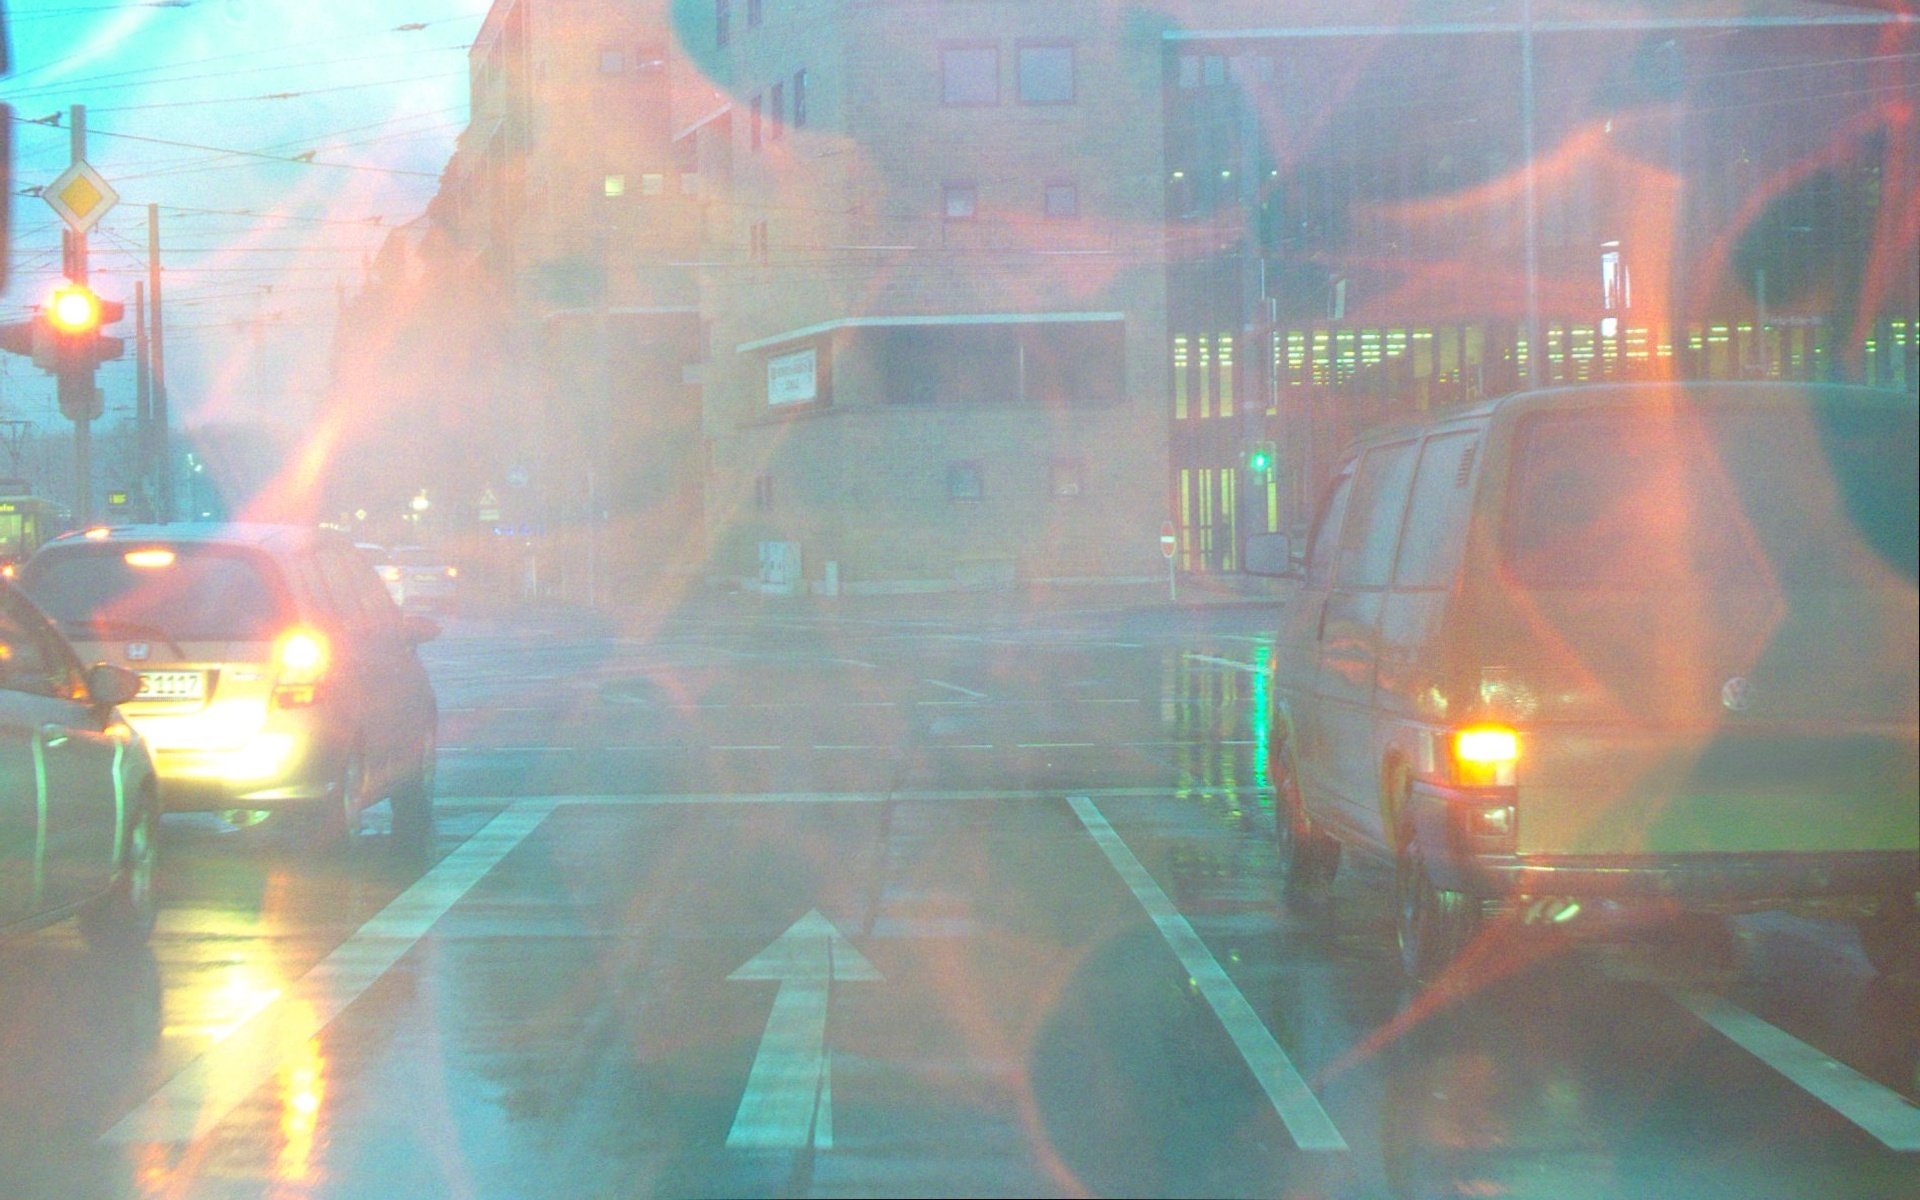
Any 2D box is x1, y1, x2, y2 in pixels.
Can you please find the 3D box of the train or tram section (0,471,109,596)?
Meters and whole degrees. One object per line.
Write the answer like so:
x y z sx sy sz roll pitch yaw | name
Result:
-29.111 -2.077 108.739 3.190 3.424 27.840 -1 1 -12 | train or tram section

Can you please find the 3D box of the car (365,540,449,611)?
-13.074 -0.594 81.175 1.870 1.573 4.001 1 1 -10 | car

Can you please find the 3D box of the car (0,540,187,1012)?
-3.772 0.520 10.898 1.705 1.443 4.000 1 1 0 | car

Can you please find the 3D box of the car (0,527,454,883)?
-3.466 0.401 16.184 1.697 1.454 3.758 -1 1 -2 | car

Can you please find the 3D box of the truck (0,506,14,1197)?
-3.350 -0.398 3.810 2.839 3.621 7.528 -1 1 -3 | truck

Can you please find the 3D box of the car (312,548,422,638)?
-11.243 -0.158 65.012 1.870 1.573 4.001 1 1 -12 | car

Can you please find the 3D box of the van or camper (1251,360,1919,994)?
2.221 0.184 12.556 1.756 1.900 4.419 0 1 -2 | van or camper
